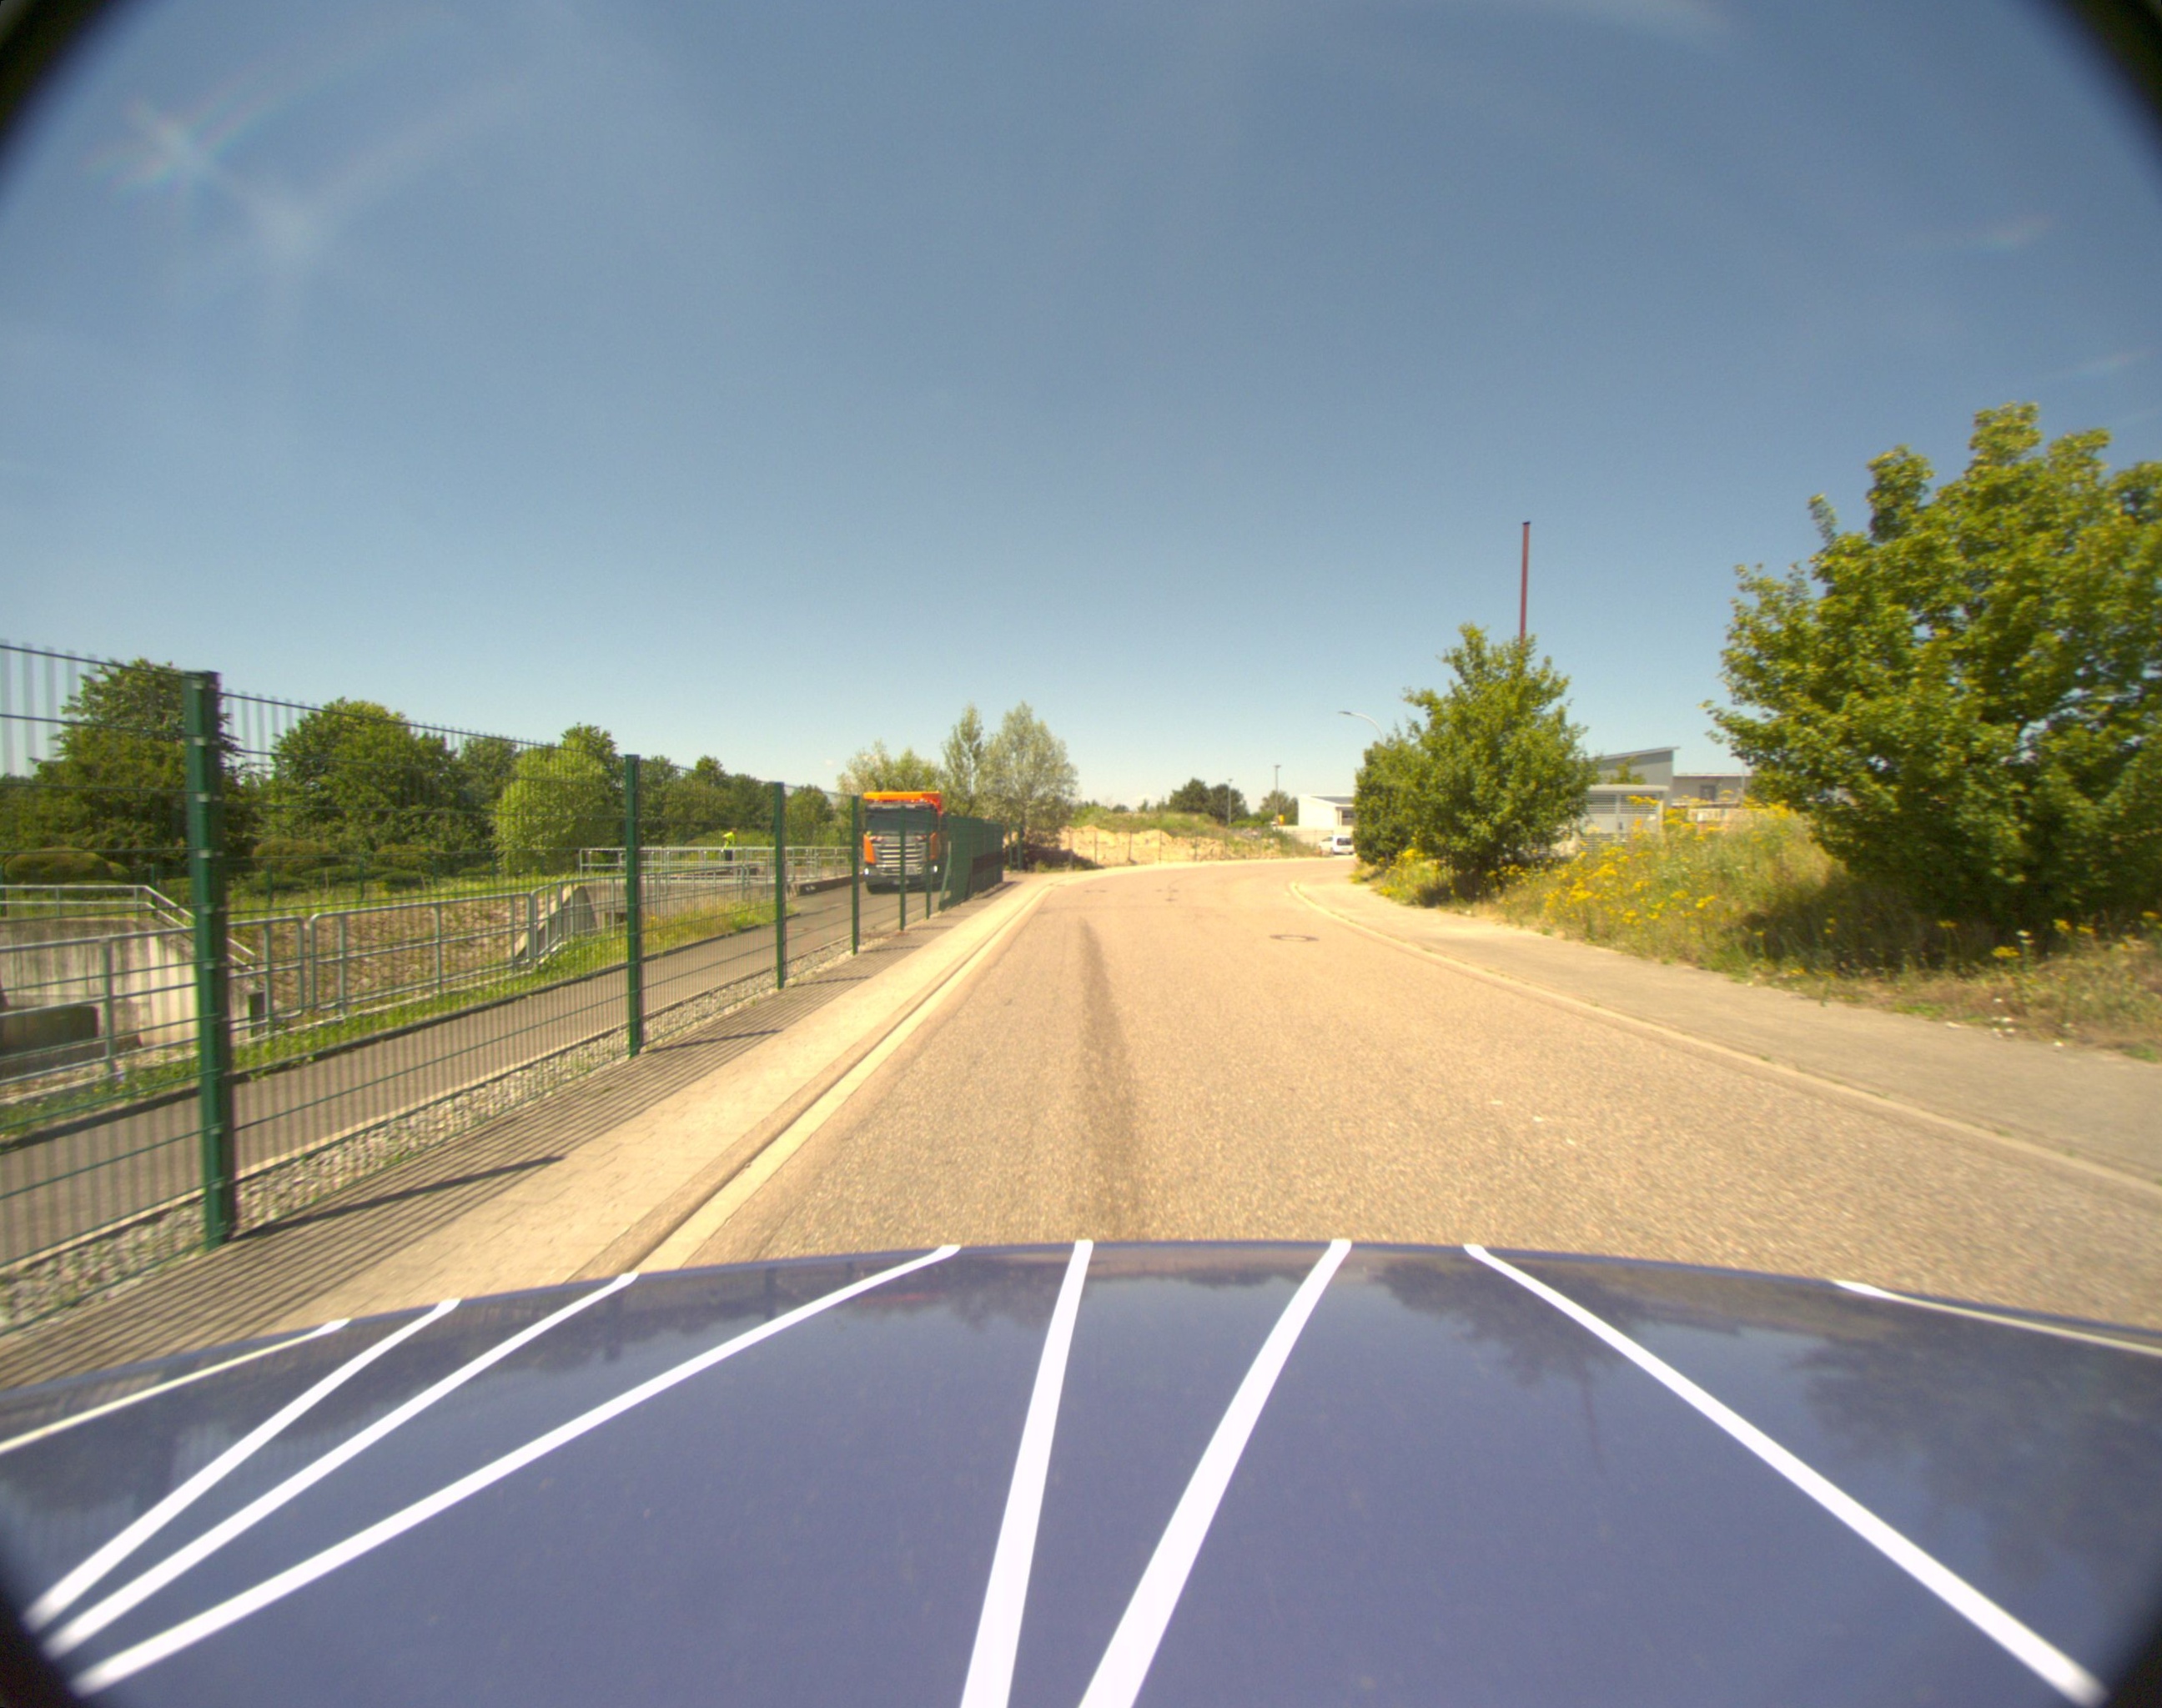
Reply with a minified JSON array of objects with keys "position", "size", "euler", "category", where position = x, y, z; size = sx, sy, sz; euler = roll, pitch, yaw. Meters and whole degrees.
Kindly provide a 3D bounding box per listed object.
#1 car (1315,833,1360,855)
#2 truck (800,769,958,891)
[{"position":[19.957,-0.822,59.273],"size":[1.892,1.454,4.018],"euler":[0,4,-4],"category":"car"},{"position":[-6.956,-0.889,27.984],"size":[4.163,3.785,8.604],"euler":[0,2,-5],"category":"truck"}]
